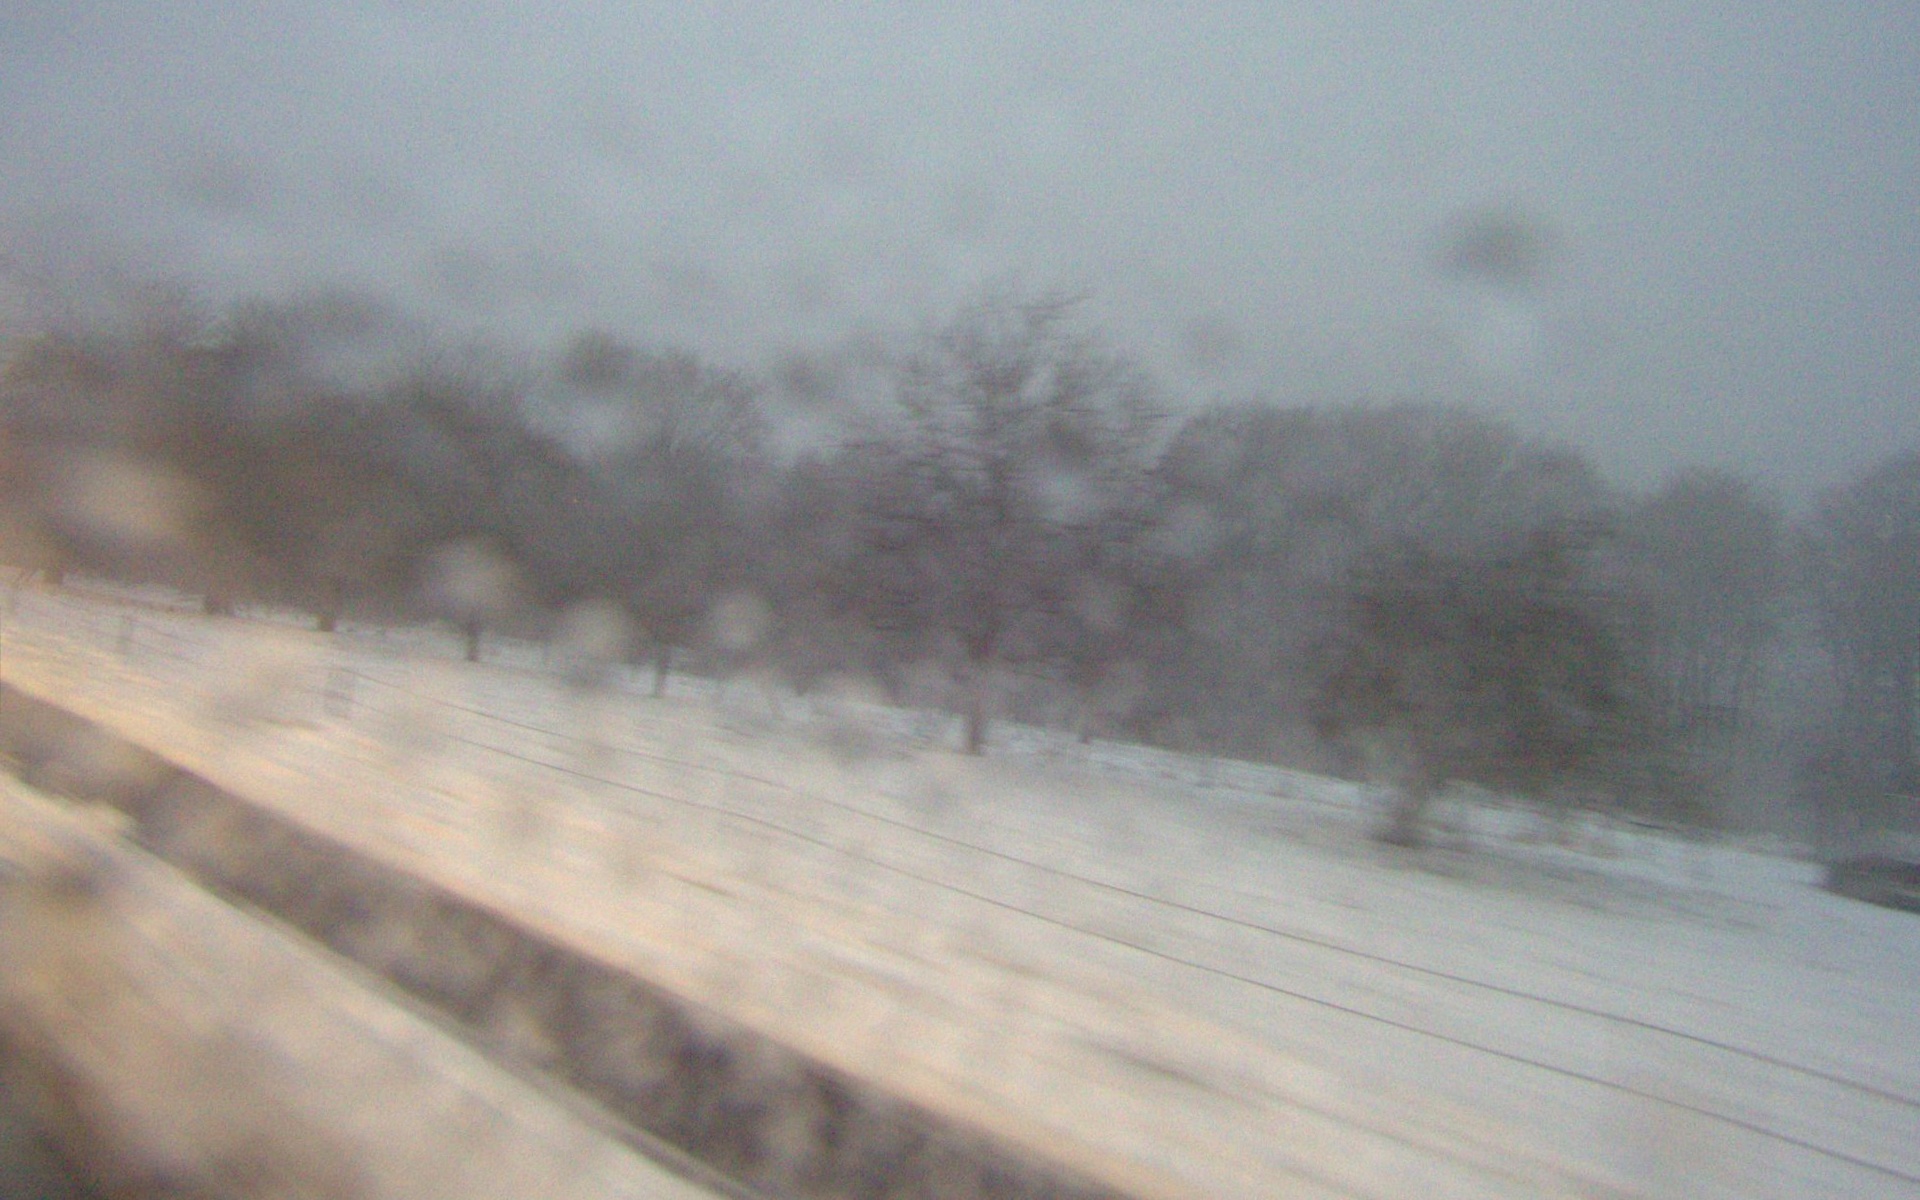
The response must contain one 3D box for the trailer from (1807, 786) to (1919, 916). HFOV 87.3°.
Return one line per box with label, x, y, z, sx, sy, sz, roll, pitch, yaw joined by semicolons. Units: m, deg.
trailer;18.241;4.798;18.852;2.184;1.963;4.762;8;-3;24
